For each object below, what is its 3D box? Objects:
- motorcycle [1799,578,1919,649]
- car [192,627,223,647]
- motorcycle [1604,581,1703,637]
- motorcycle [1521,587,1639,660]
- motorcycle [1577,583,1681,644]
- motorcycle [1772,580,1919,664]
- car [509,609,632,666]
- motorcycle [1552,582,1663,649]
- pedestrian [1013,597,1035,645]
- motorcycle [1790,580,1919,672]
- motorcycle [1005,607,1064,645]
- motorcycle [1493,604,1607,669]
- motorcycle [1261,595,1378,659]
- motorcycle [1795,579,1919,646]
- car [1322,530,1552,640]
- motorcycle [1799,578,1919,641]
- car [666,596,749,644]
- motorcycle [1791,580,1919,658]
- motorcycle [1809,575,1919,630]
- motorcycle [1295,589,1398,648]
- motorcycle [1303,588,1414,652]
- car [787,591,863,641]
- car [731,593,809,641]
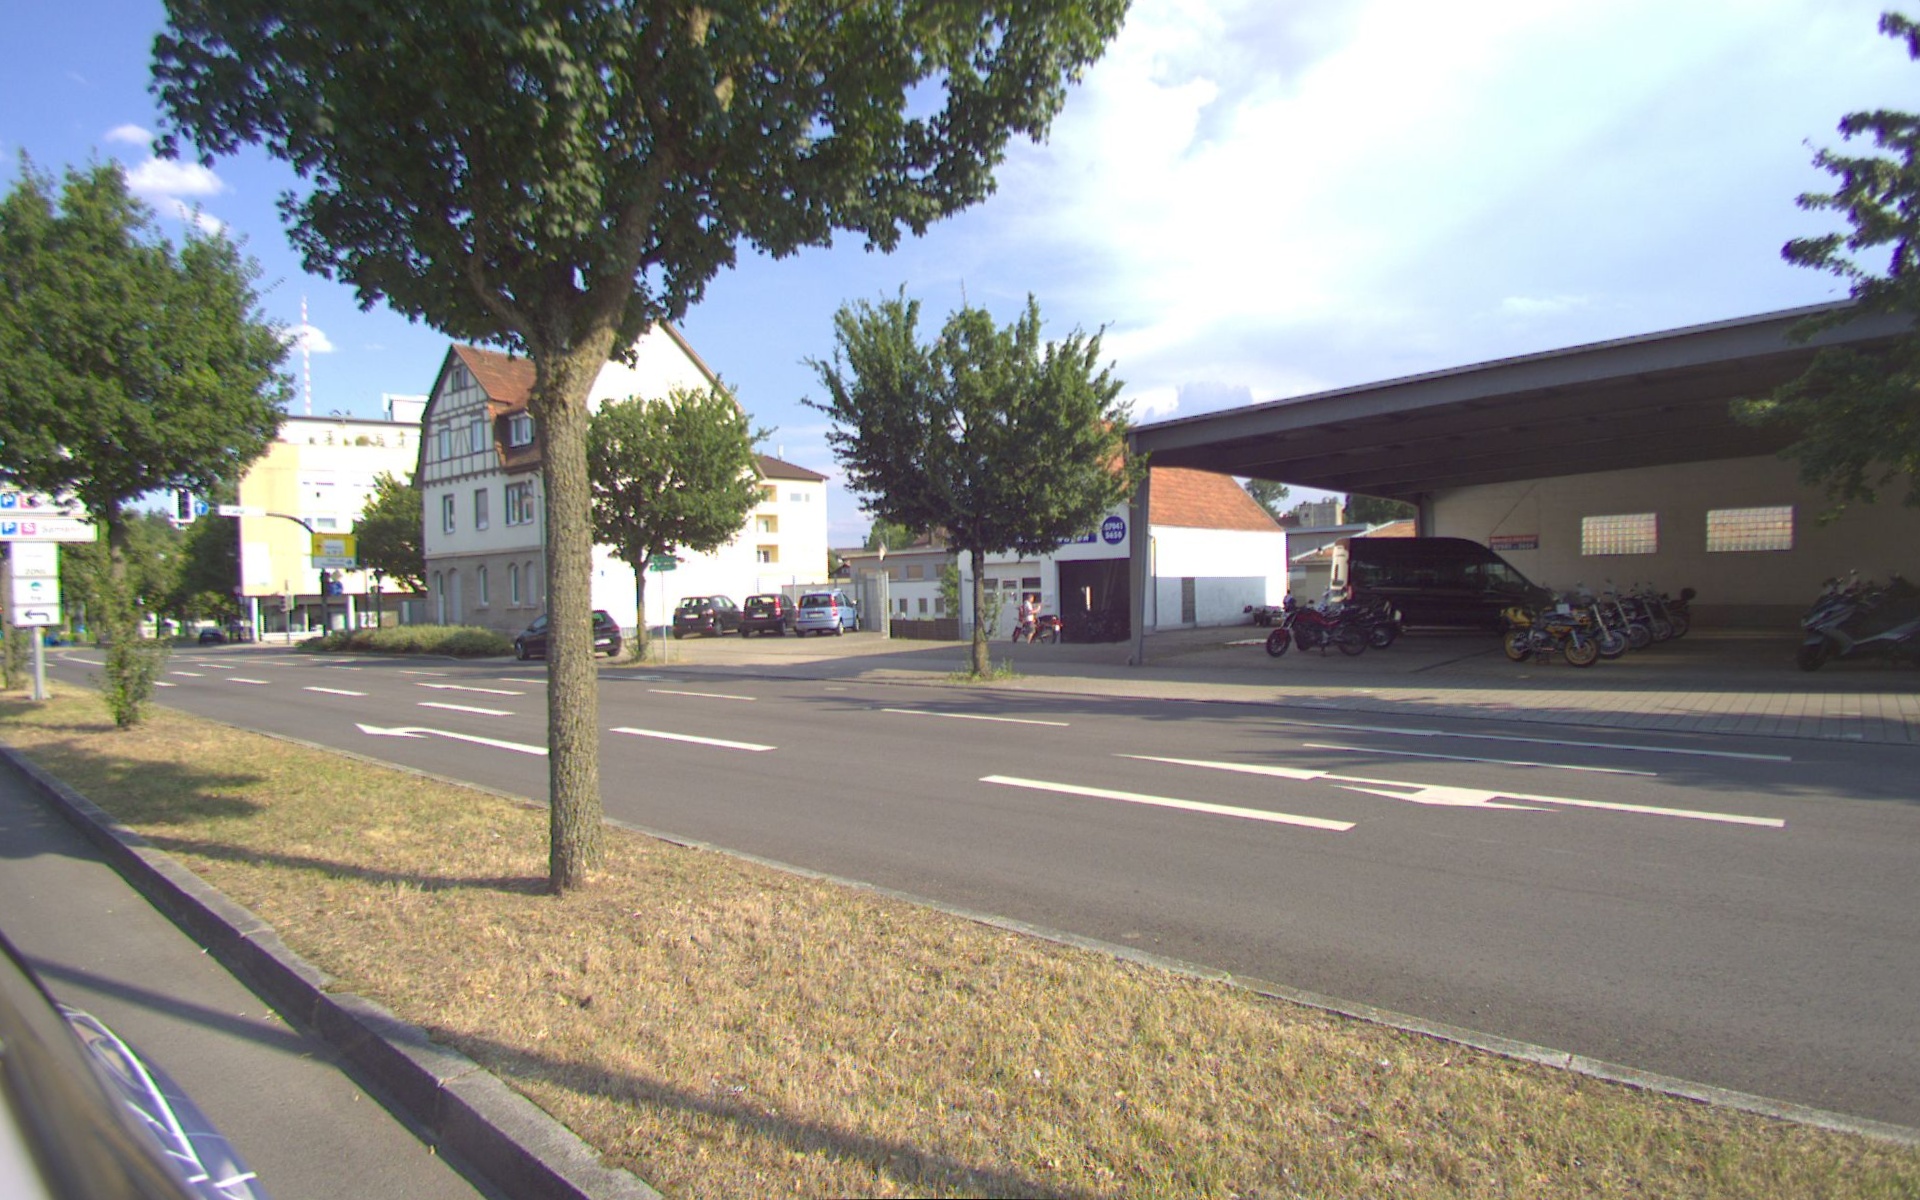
[{"bbox_3d":[18.041,0.272,19.985,2.103,1.306,0.628,-3,-1,17],"label":"motorcycle"},{"bbox_3d":[-70.227,3.455,94.500,1.752,1.706,4.013,-1,0,-28],"label":"car"},{"bbox_3d":[17.286,0.222,25.300,0.621,1.347,2.269,-1,0,-9],"label":"motorcycle"},{"bbox_3d":[12.154,0.440,19.953,0.621,1.347,2.269,-1,0,-9],"label":"motorcycle"},{"bbox_3d":[15.533,0.304,23.576,0.621,1.347,2.269,-1,0,-9],"label":"motorcycle"},{"bbox_3d":[14.909,0.364,16.773,2.103,1.306,0.628,-3,-1,17],"label":"motorcycle"},{"bbox_3d":[-11.605,1.082,30.072,3.823,1.462,1.795,-1,2,42],"label":"car"},{"bbox_3d":[13.860,0.326,21.766,0.621,1.347,2.269,-1,0,-9],"label":"motorcycle"},{"bbox_3d":[2.067,0.677,32.761,0.485,1.530,0.496,-1,0,41],"label":"pedestrian"},{"bbox_3d":[13.857,0.378,15.112,2.103,1.306,0.628,-3,-1,17],"label":"motorcycle"},{"bbox_3d":[2.429,0.840,33.206,1.974,1.194,0.577,-1,0,41],"label":"motorcycle"},{"bbox_3d":[10.527,0.621,18.148,0.621,1.095,2.038,-1,0,-8],"label":"motorcycle"},{"bbox_3d":[7.492,0.563,21.156,2.202,1.290,0.629,-1,0,11],"label":"motorcycle"},{"bbox_3d":[19.030,0.258,21.286,2.103,1.306,0.628,-3,-1,17],"label":"motorcycle"},{"bbox_3d":[12.861,-0.376,27.625,5.221,2.773,1.996,-1,0,7],"label":"car"},{"bbox_3d":[20.224,0.209,22.641,2.103,1.306,0.628,-3,-1,17],"label":"motorcycle"},{"bbox_3d":[-9.327,0.691,37.695,1.797,1.512,3.819,-3,2,5],"label":"car"},{"bbox_3d":[16.527,0.342,18.345,2.103,1.306,0.628,-3,-1,17],"label":"motorcycle"},{"bbox_3d":[23.730,0.075,26.519,2.103,1.306,0.628,-3,-1,17],"label":"motorcycle"},{"bbox_3d":[9.375,0.454,24.604,2.198,1.372,0.630,-1,0,5],"label":"motorcycle"},{"bbox_3d":[8.952,0.452,22.800,2.198,1.372,0.630,-1,0,5],"label":"motorcycle"},{"bbox_3d":[-4.687,0.521,35.673,1.797,1.512,3.819,-3,2,5],"label":"car"},{"bbox_3d":[-6.926,0.587,37.303,1.797,1.512,3.819,-3,2,5],"label":"car"}]
